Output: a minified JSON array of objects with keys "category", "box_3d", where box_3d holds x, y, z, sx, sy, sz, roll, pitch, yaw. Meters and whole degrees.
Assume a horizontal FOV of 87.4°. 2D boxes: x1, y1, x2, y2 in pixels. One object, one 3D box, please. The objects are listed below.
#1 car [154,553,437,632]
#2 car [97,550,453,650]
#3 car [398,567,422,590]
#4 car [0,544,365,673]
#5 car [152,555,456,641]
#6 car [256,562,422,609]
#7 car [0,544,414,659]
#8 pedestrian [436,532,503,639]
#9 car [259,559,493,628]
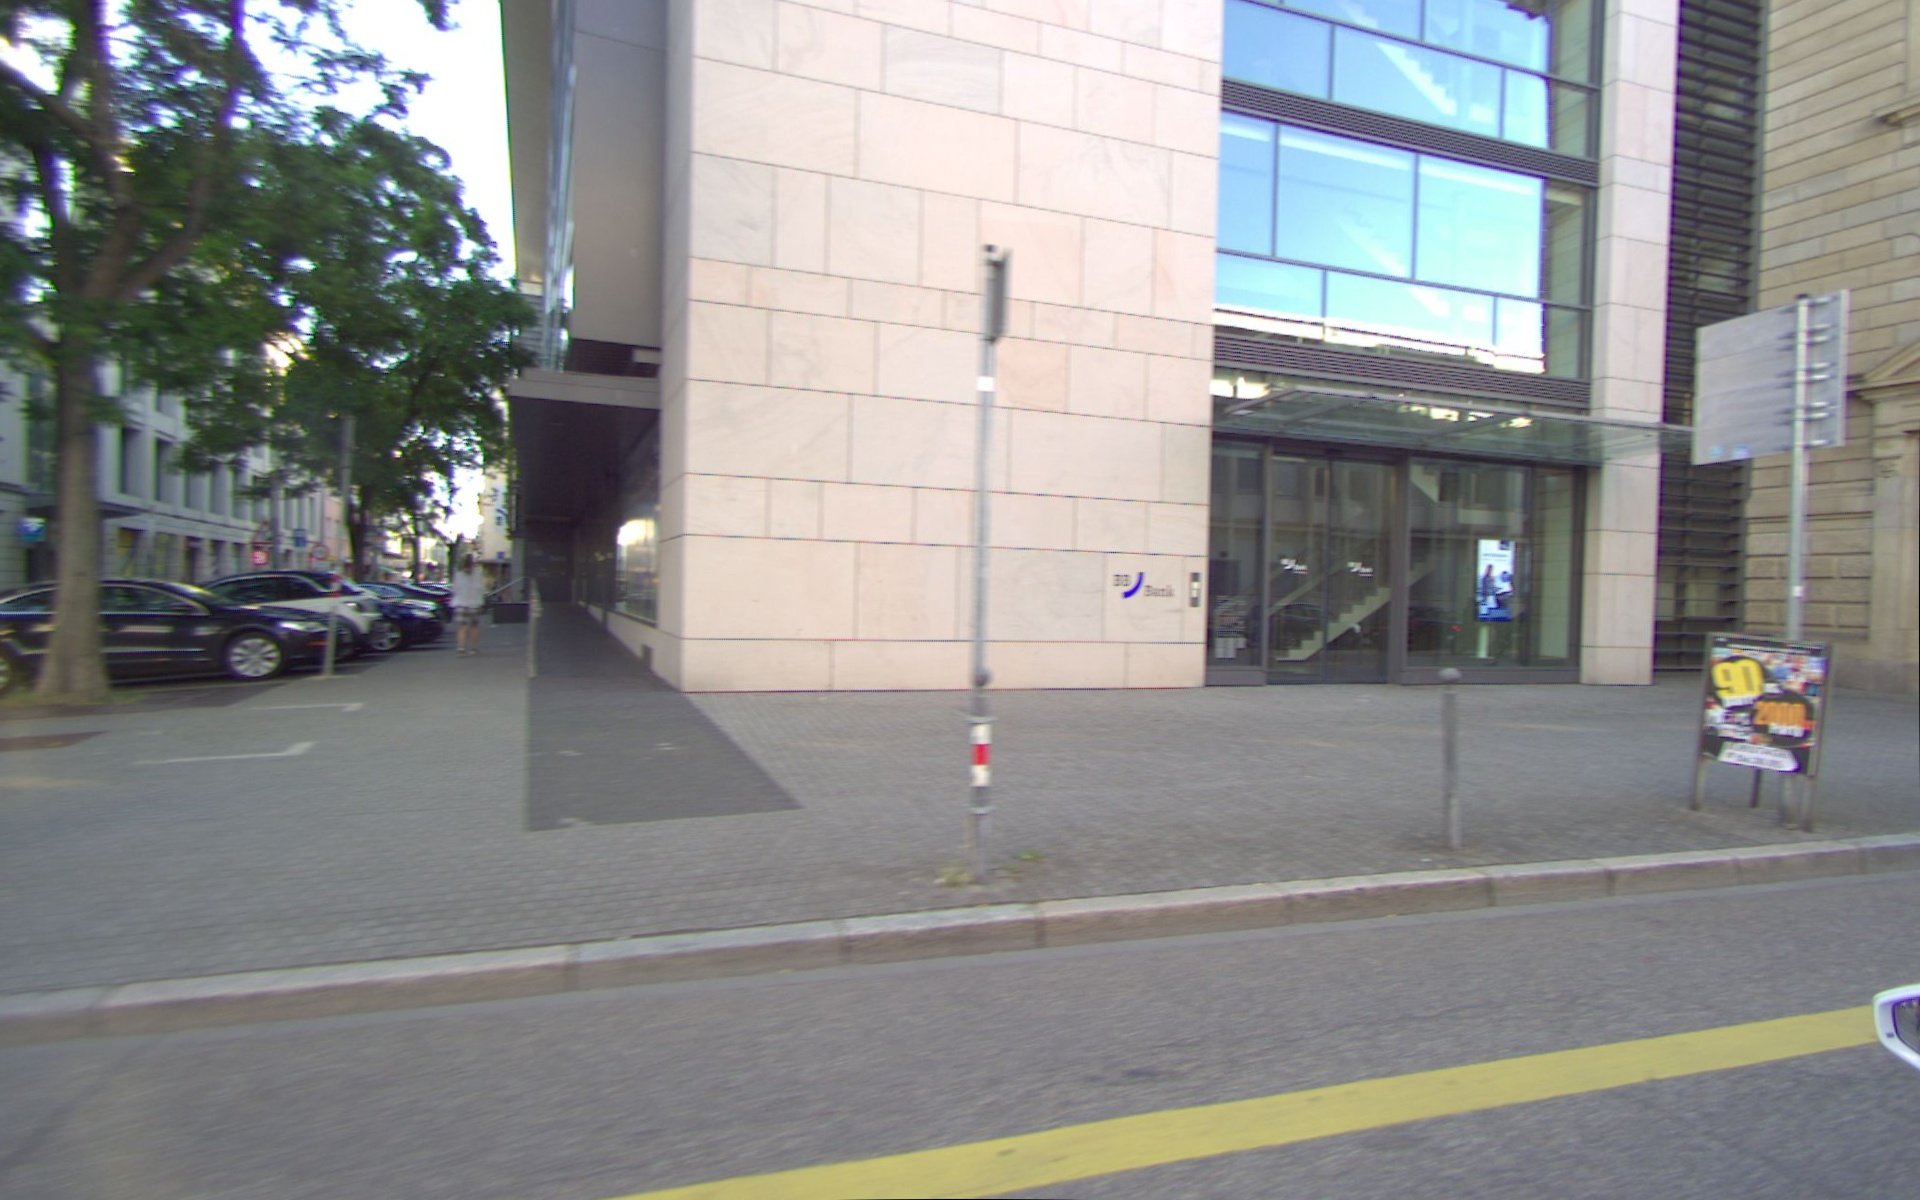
[{"category":"car","box_3d":[-14.510,-0.209,22.365,4.953,1.520,1.987,-2,2,-26]},{"category":"car","box_3d":[-11.954,-0.065,18.056,4.953,1.520,1.987,-2,2,-26]},{"category":"car","box_3d":[-62.027,-2.443,113.261,1.974,2.360,4.987,3,0,-26]},{"category":"car","box_3d":[-10.849,0.079,13.213,4.953,1.471,1.987,-2,2,-26]},{"category":"car","box_3d":[-13.233,-0.095,20.728,4.953,1.520,1.987,-2,2,-26]},{"category":"car","box_3d":[-22.789,-0.567,37.142,4.953,1.520,1.987,-2,2,-26]},{"category":"car","box_3d":[-11.452,-0.047,15.695,4.953,1.520,1.987,-2,2,-26]},{"category":"pedestrian","box_3d":[-8.172,-0.248,16.770,0.895,1.729,0.830,-1,1,-22]},{"category":"car","box_3d":[-14.690,-0.209,25.679,4.953,1.520,1.987,-2,2,-26]}]
